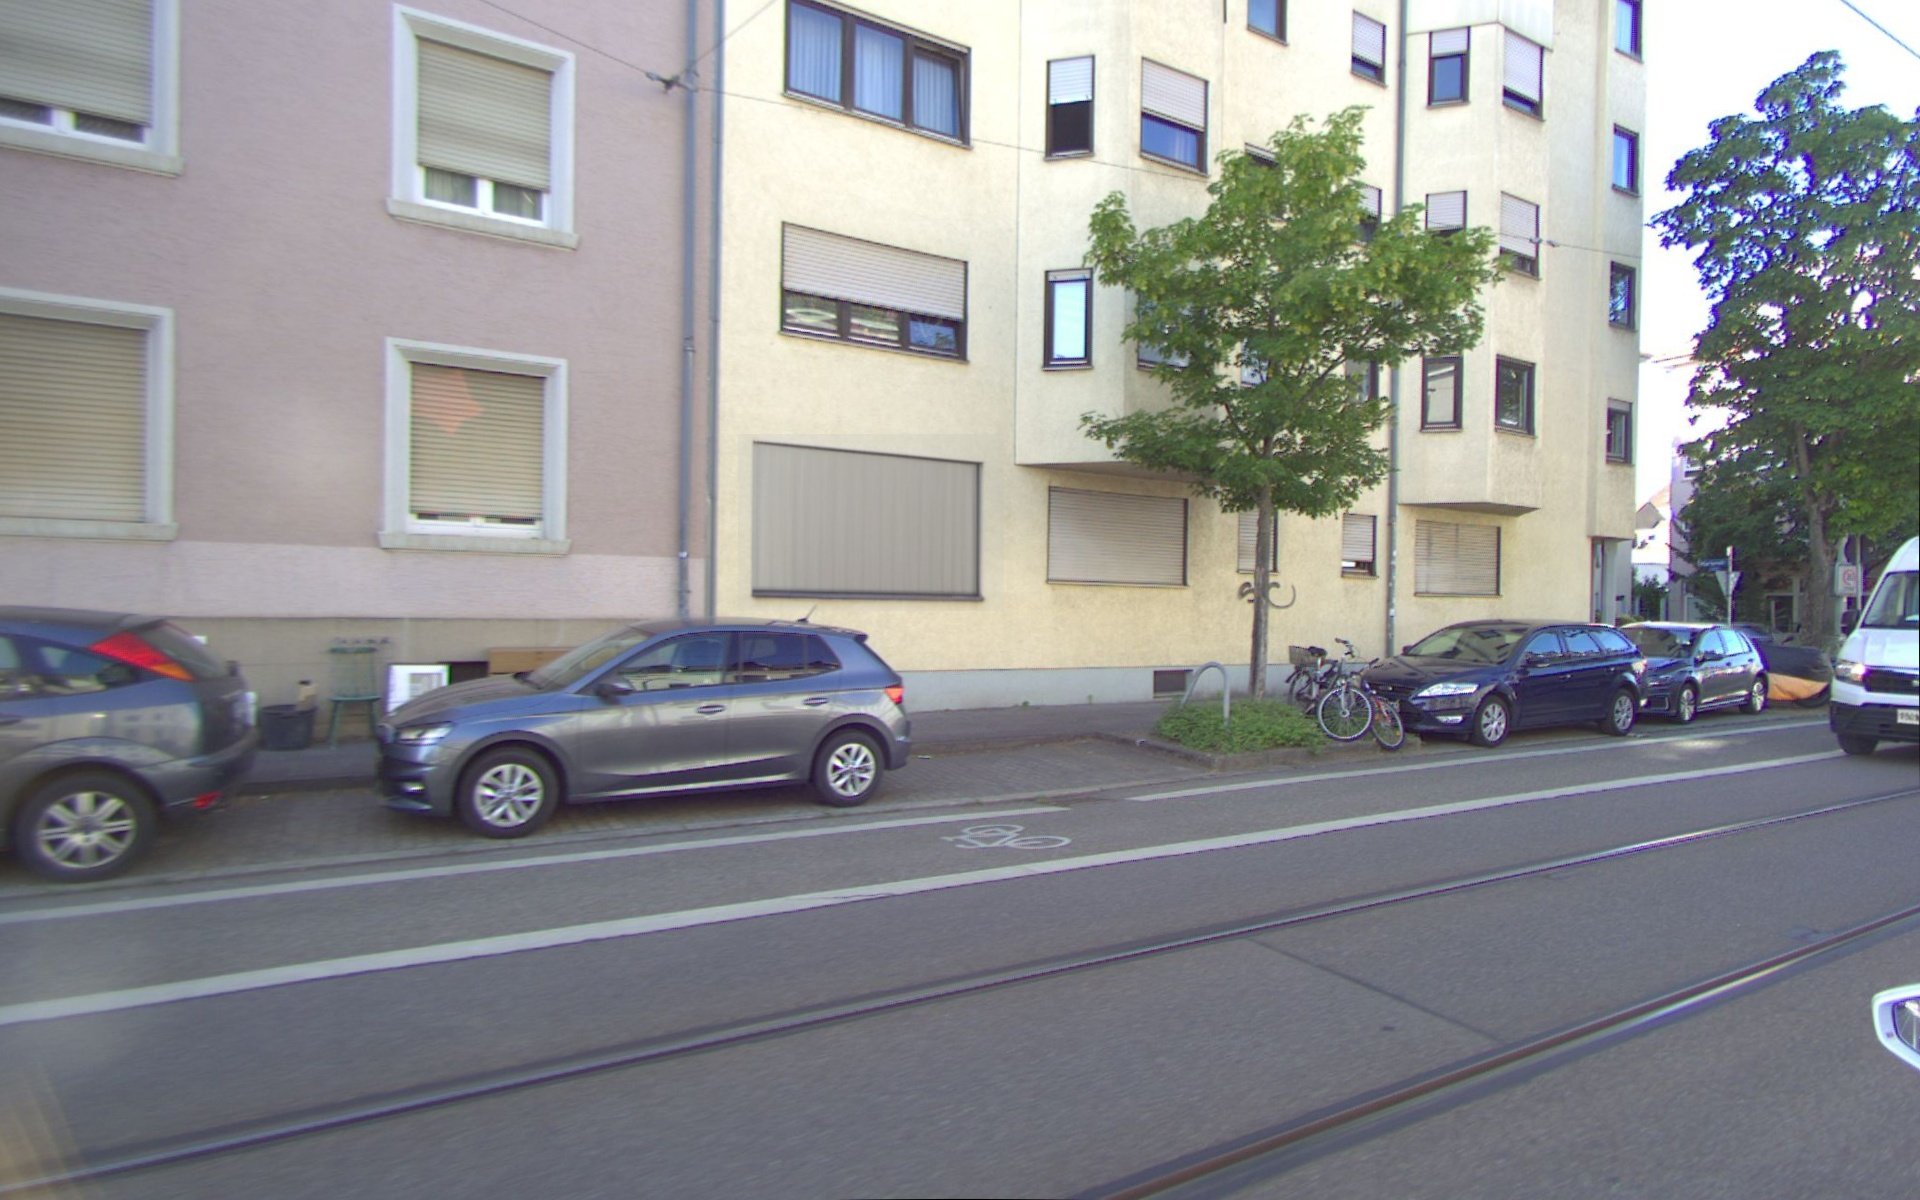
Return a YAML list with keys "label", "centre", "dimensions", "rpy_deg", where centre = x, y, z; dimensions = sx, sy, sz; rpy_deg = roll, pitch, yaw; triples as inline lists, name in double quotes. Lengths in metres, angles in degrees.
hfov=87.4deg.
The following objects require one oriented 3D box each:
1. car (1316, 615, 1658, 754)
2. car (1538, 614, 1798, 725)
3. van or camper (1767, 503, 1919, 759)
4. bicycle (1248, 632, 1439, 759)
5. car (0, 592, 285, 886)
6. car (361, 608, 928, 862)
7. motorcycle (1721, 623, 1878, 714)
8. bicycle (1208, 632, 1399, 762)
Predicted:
- label: "car"
  centre: [7.084, 1.014, 13.384]
  dimensions: [4.675, 1.563, 1.757]
  rpy_deg: [1, 0, -29]
- label: "car"
  centre: [11.364, 1.040, 16.094]
  dimensions: [4.076, 1.563, 1.729]
  rpy_deg: [1, 0, -27]
- label: "van or camper"
  centre: [12.563, 0.388, 11.991]
  dimensions: [6.756, 2.587, 2.358]
  rpy_deg: [1, 0, -31]
- label: "bicycle"
  centre: [4.658, 1.103, 12.408]
  dimensions: [0.691, 1.352, 2.282]
  rpy_deg: [1, 0, -29]
- label: "car"
  centre: [-6.358, 0.725, 5.615]
  dimensions: [4.131, 1.493, 1.757]
  rpy_deg: [1, 2, -30]
- label: "car"
  centre: [-2.435, 0.879, 8.021]
  dimensions: [3.995, 1.493, 1.756]
  rpy_deg: [1, 2, -31]
- label: "motorcycle"
  centre: [14.582, 1.146, 17.501]
  dimensions: [0.828, 1.466, 1.955]
  rpy_deg: [1, 0, -36]
- label: "bicycle"
  centre: [4.046, 1.087, 12.059]
  dimensions: [0.691, 1.352, 2.282]
  rpy_deg: [1, 0, -29]
